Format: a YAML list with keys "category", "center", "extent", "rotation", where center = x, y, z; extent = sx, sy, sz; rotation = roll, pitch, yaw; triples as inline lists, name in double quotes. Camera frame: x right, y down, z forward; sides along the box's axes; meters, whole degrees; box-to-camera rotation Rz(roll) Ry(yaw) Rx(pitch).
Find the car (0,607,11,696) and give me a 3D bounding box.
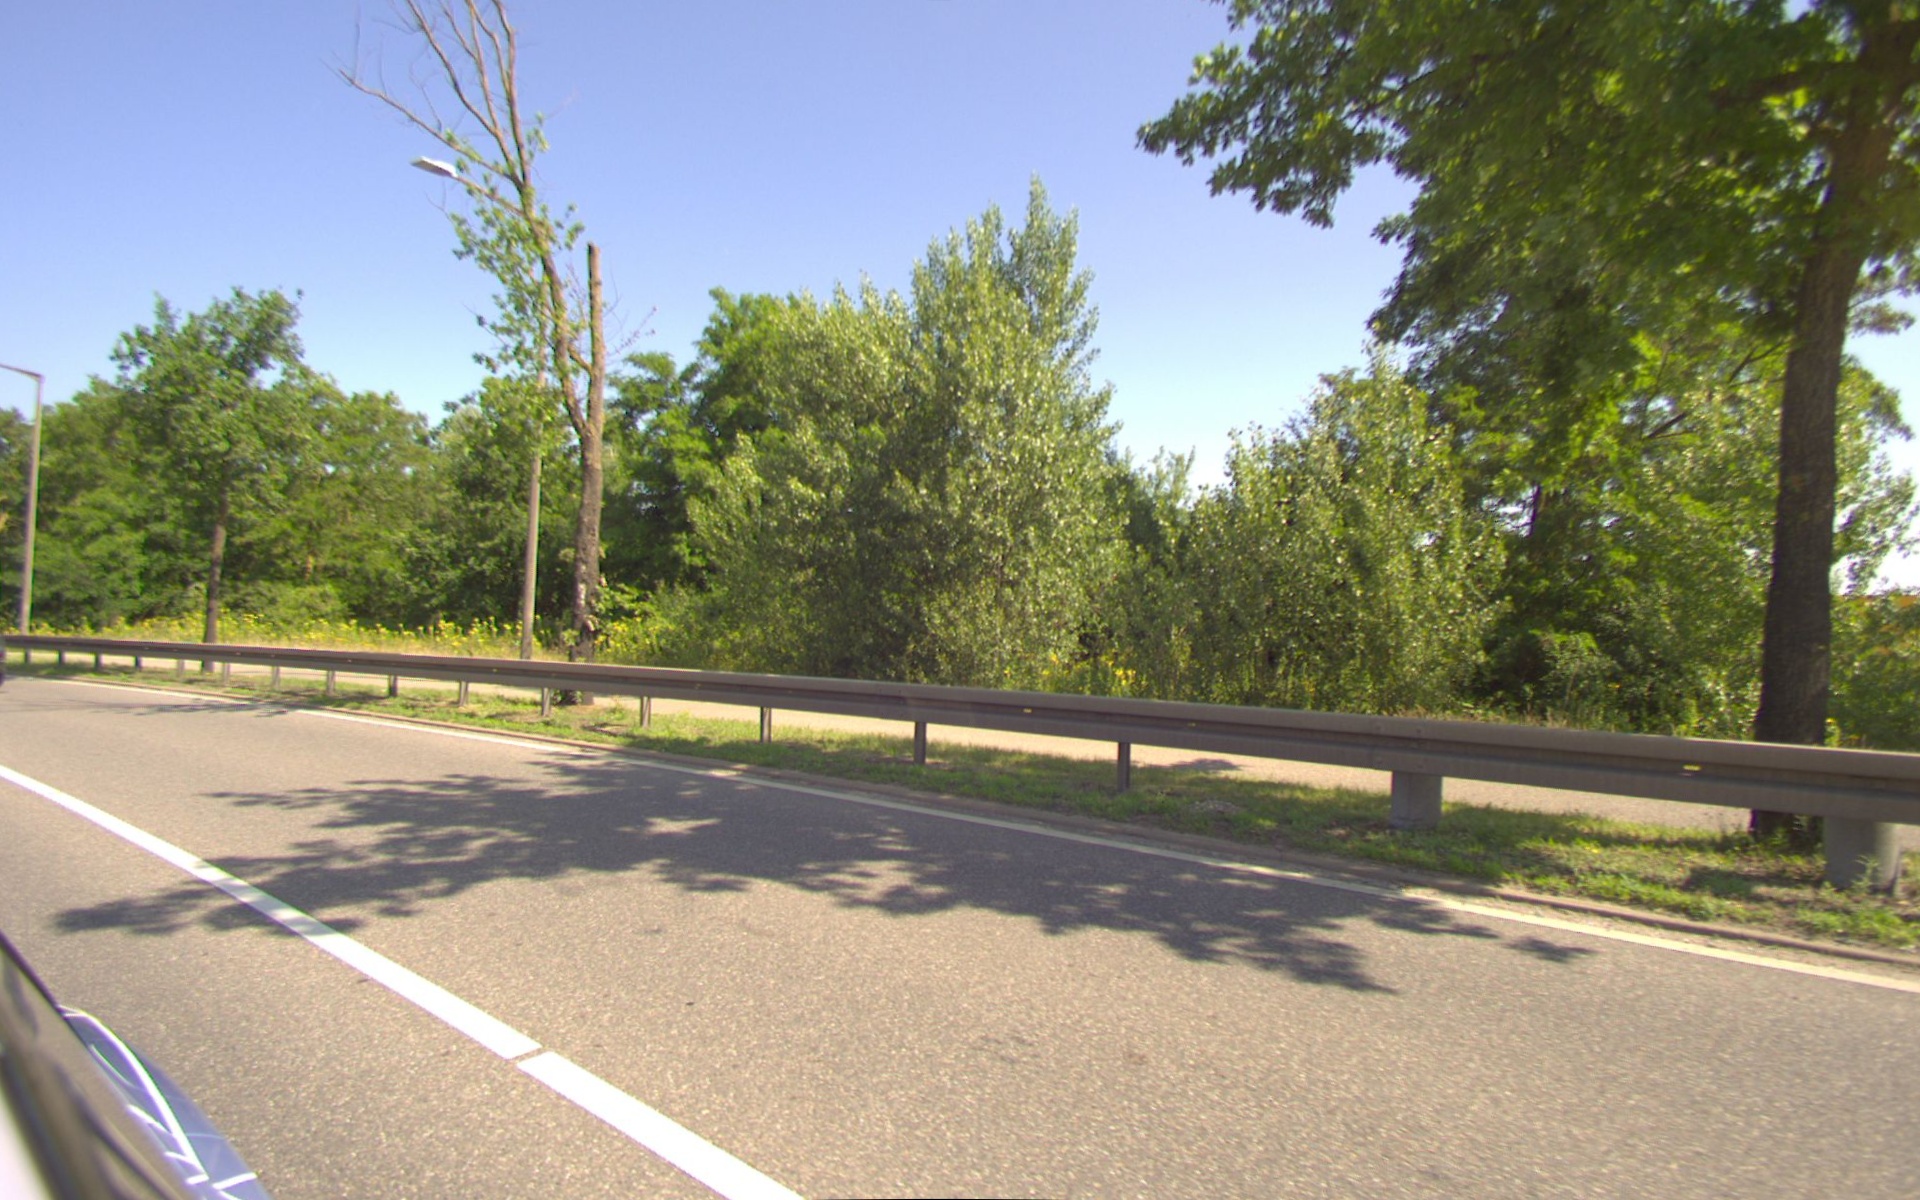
- category: "car"
  center: [-19.057, 0.900, 18.305]
  extent: [4.107, 1.544, 1.914]
  rotation: [1, 2, 34]
